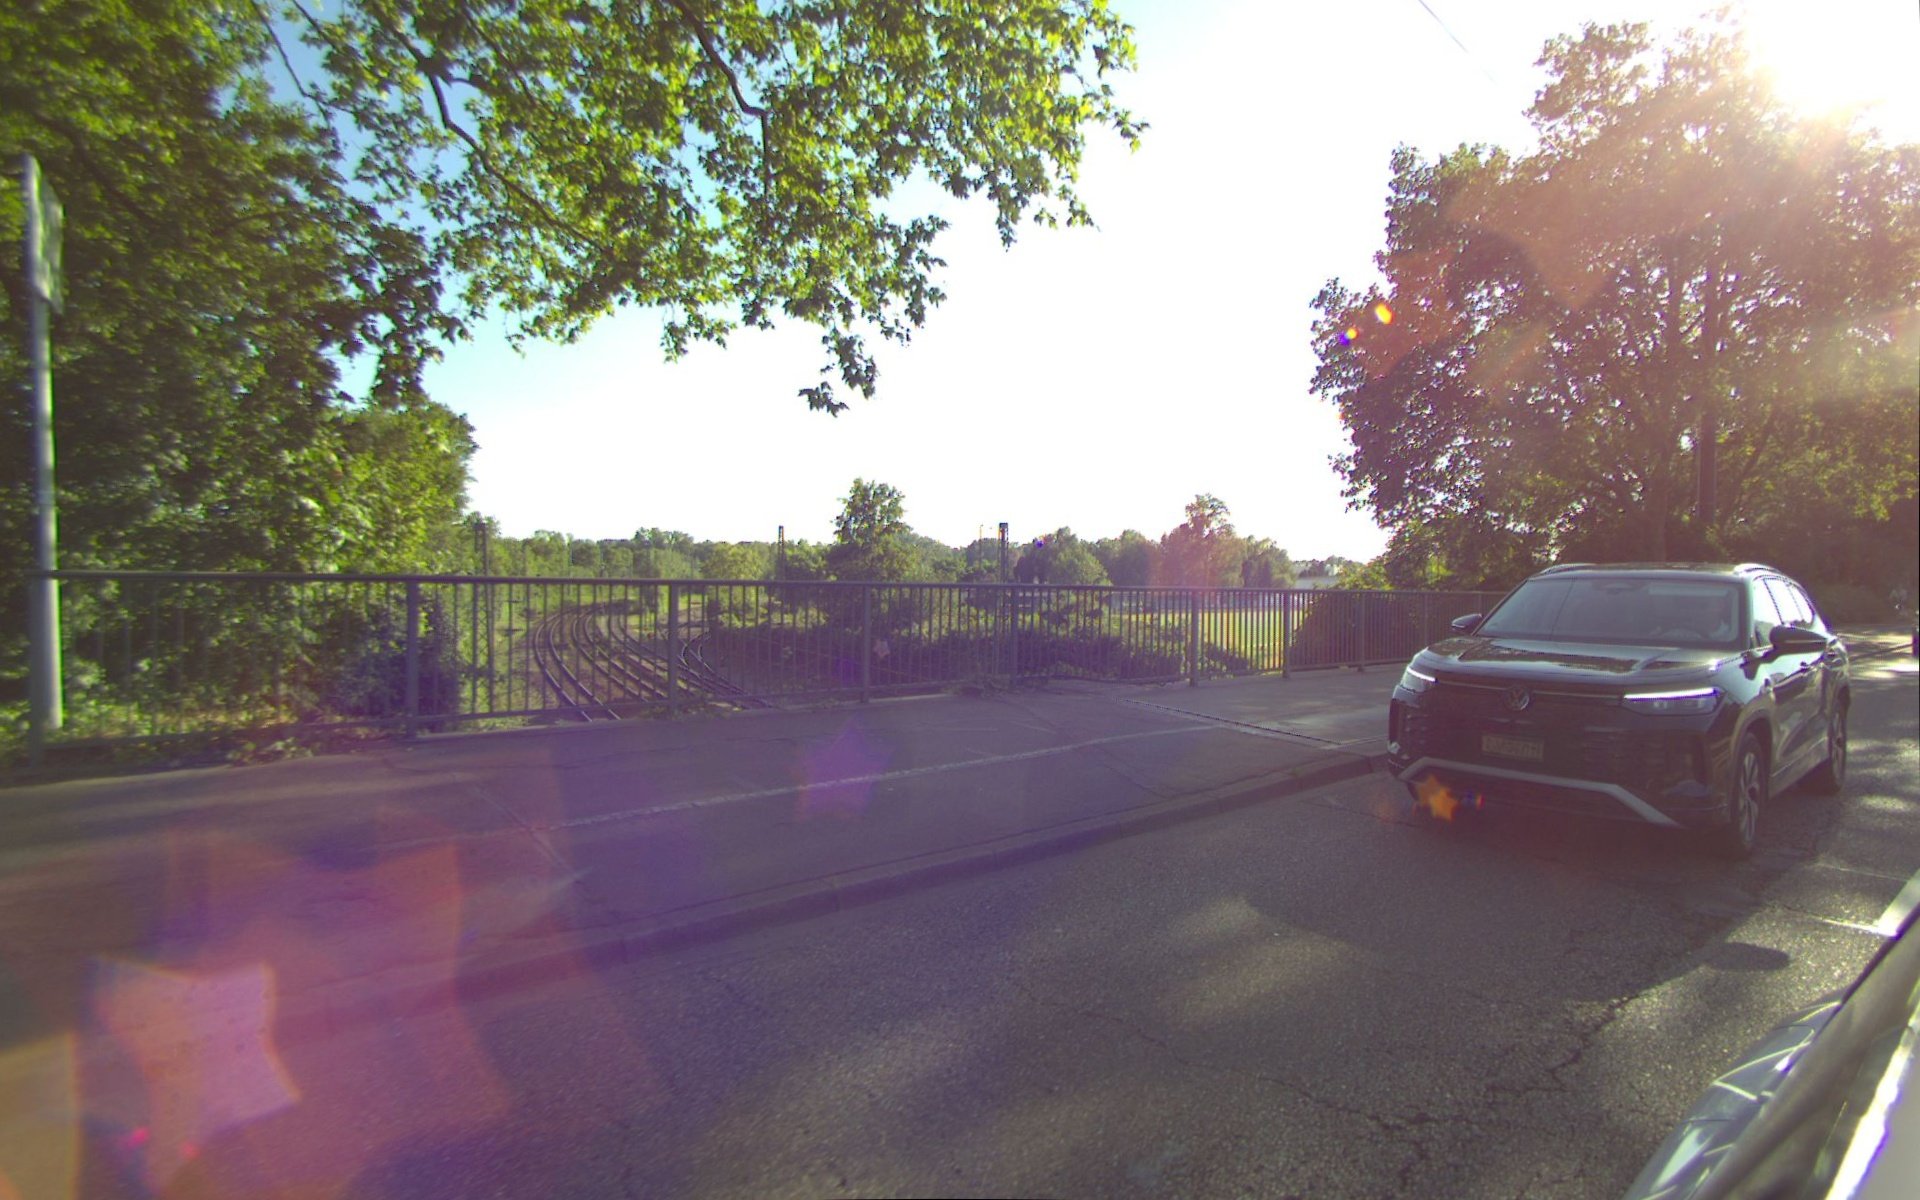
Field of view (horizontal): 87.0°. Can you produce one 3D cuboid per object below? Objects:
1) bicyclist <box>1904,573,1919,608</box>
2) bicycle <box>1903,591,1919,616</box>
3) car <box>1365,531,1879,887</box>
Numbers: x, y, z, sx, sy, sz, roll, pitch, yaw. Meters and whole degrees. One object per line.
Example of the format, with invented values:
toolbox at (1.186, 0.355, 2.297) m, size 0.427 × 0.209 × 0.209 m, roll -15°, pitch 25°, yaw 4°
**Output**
bicyclist at (43.219, -0.432, 45.728) m, size 0.875 × 1.527 × 0.687 m, roll 1°, pitch 1°, yaw -40°
bicycle at (43.105, 0.151, 45.671) m, size 1.781 × 1.134 × 0.623 m, roll 0°, pitch 2°, yaw -41°
car at (4.718, 0.455, 6.927) m, size 4.363 × 1.681 × 1.848 m, roll -1°, pitch 2°, yaw -42°
